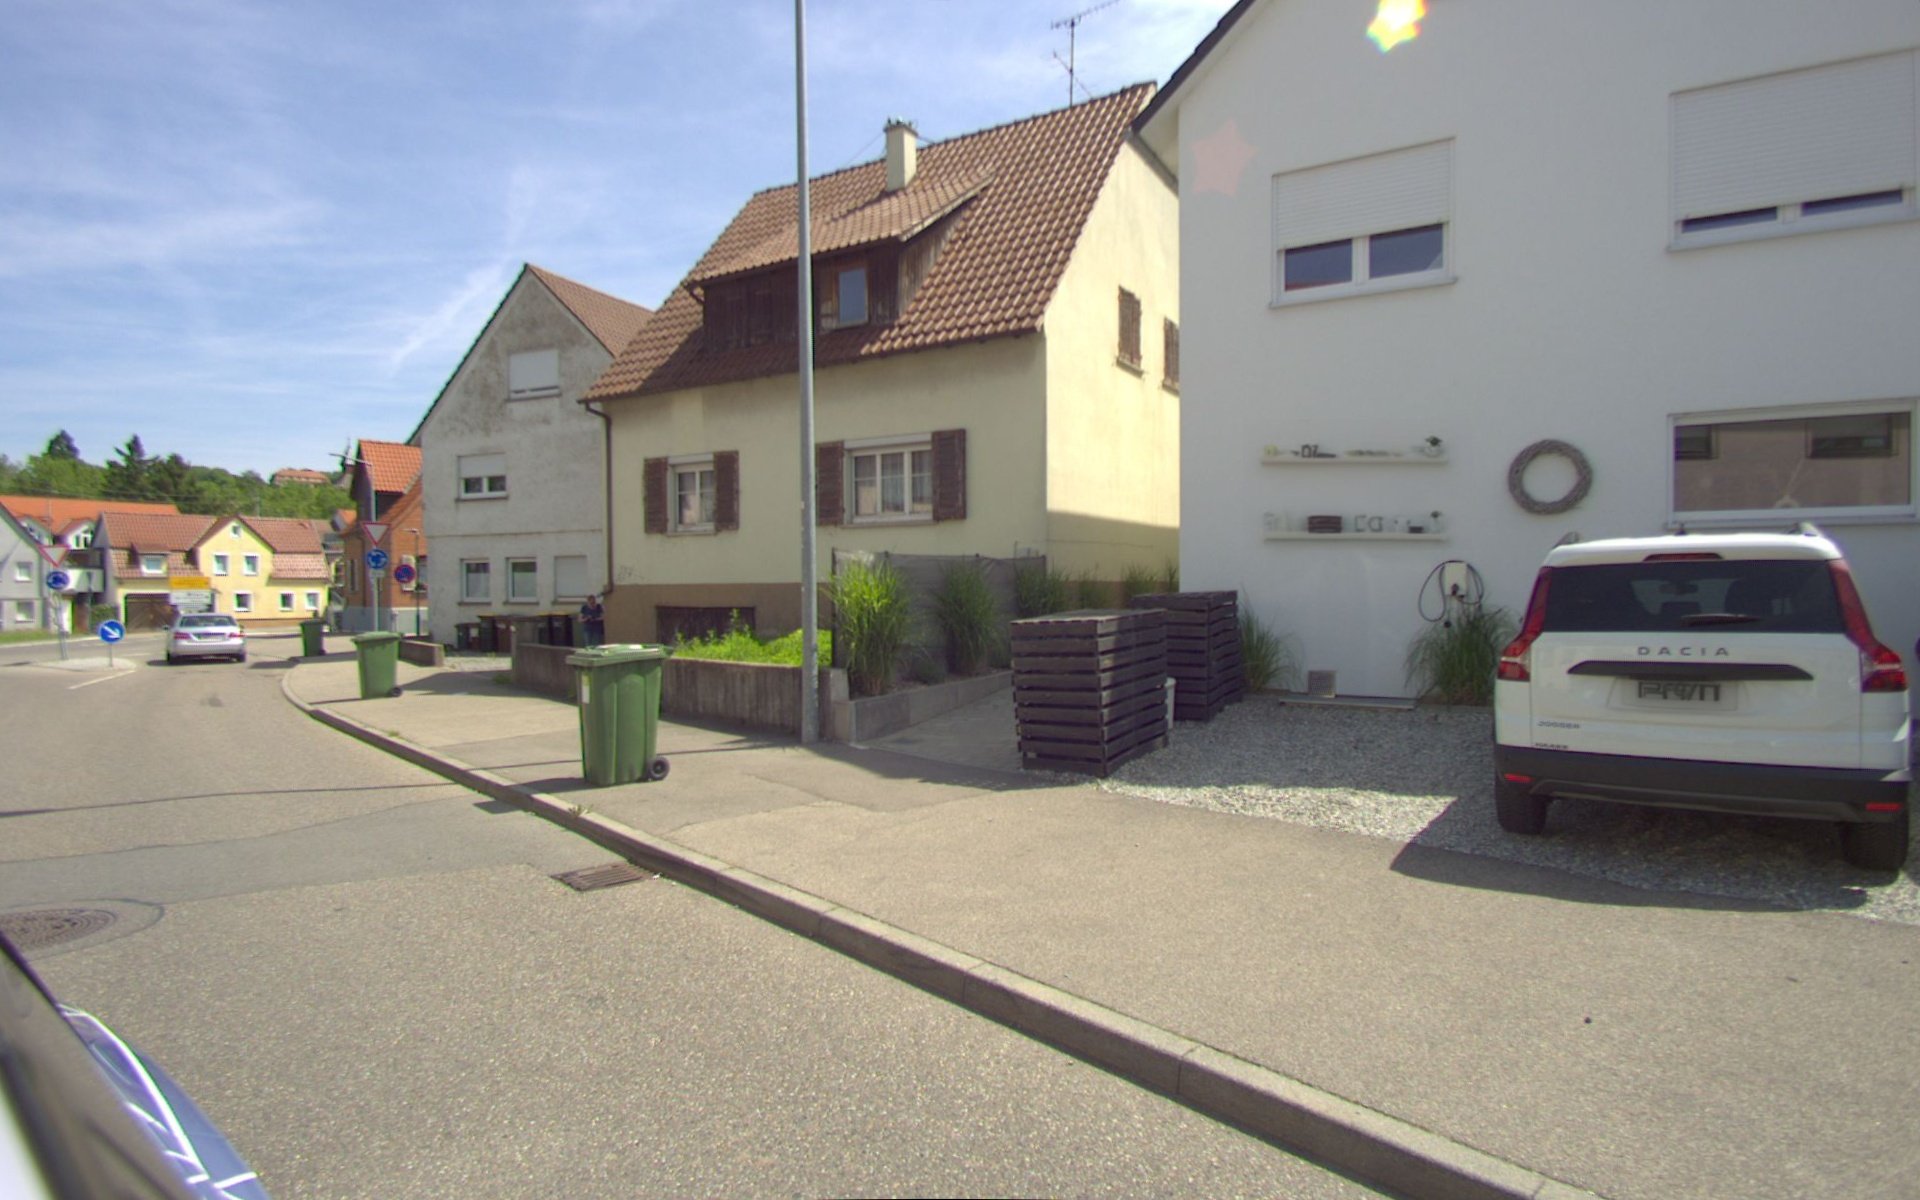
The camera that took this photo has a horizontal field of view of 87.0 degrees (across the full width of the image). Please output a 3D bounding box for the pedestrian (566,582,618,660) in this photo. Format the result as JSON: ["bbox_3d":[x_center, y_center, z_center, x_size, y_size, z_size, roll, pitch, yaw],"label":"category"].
[{"bbox_3d":[-7.694,0.433,21.140,0.627,1.586,0.769,-2,0,40],"label":"pedestrian"}]

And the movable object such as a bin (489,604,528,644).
[{"bbox_3d":[-12.712,0.671,28.495,0.693,1.094,0.680,-2,1,22],"label":"movable object such as a bin"}]

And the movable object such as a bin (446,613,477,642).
[{"bbox_3d":[-14.428,0.787,29.274,0.643,0.811,0.483,-2,1,25],"label":"movable object such as a bin"}]

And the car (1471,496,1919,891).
[{"bbox_3d":[4.707,0.347,6.367,1.996,1.634,4.362,-1,1,36],"label":"car"}]

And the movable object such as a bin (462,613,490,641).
[{"bbox_3d":[-13.880,0.779,29.025,0.524,0.786,0.483,-2,1,22],"label":"movable object such as a bin"}]

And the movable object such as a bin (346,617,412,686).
[{"bbox_3d":[-9.426,0.814,16.417,0.782,1.065,0.651,-1,0,-45],"label":"movable object such as a bin"}]

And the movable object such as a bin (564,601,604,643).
[{"bbox_3d":[-10.190,0.584,27.420,0.656,1.090,0.736,-2,1,22],"label":"movable object such as a bin"}]

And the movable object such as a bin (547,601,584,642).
[{"bbox_3d":[-10.787,0.590,27.686,0.621,1.090,0.680,-2,1,22],"label":"movable object such as a bin"}]

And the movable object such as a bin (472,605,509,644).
[{"bbox_3d":[-13.336,0.692,28.761,0.640,1.094,0.680,-2,1,22],"label":"movable object such as a bin"}]

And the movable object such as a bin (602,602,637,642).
[{"bbox_3d":[-9.025,0.584,26.862,0.599,1.043,0.625,-2,1,22],"label":"movable object such as a bin"}]

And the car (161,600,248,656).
[{"bbox_3d":[-22.489,0.779,30.160,1.930,1.497,4.469,-1,0,-37],"label":"car"}]

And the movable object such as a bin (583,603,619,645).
[{"bbox_3d":[-9.606,0.631,27.103,0.580,1.090,0.675,-2,1,22],"label":"movable object such as a bin"}]

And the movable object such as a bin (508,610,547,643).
[{"bbox_3d":[-12.054,0.737,28.218,0.693,0.903,0.680,-2,1,22],"label":"movable object such as a bin"}]

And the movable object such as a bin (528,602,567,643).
[{"bbox_3d":[-11.398,0.606,27.945,0.693,1.090,0.680,-2,1,22],"label":"movable object such as a bin"}]

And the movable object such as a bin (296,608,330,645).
[{"bbox_3d":[-19.215,0.792,30.076,0.797,1.053,0.829,-2,0,-31],"label":"movable object such as a bin"}]

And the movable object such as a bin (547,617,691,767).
[{"bbox_3d":[-2.731,0.695,8.106,0.815,1.085,0.819,-2,0,-41],"label":"movable object such as a bin"}]
